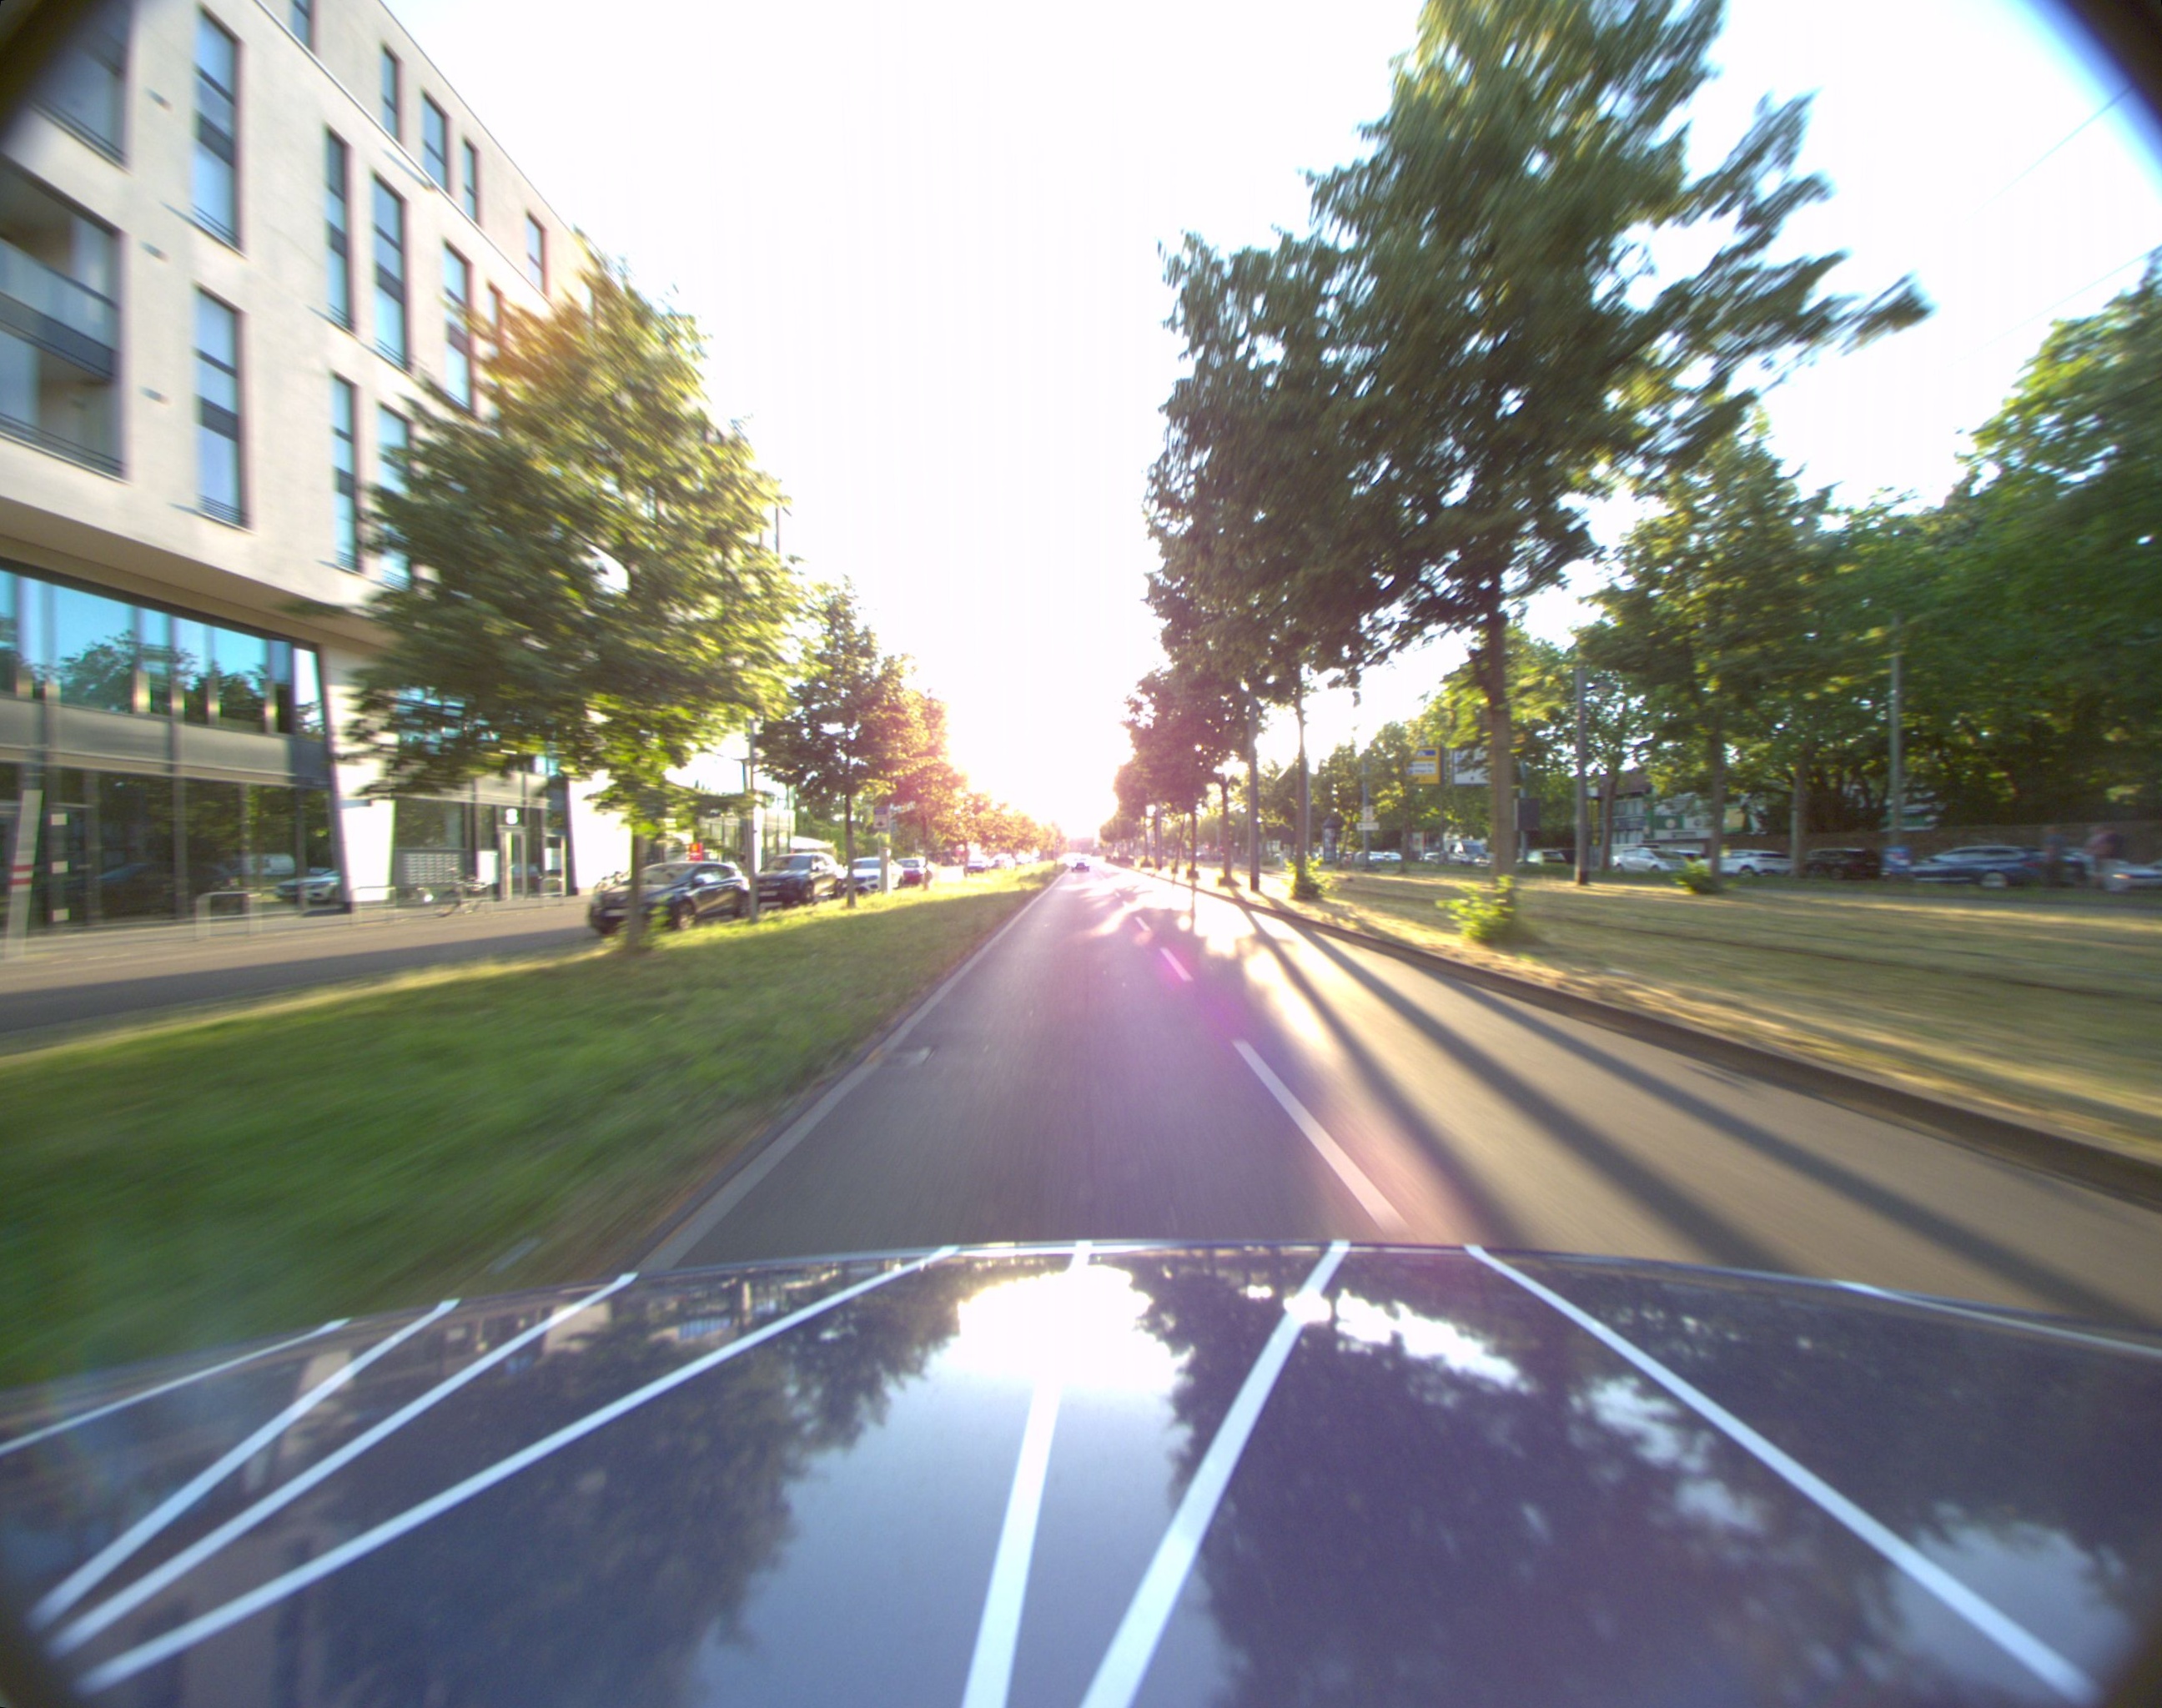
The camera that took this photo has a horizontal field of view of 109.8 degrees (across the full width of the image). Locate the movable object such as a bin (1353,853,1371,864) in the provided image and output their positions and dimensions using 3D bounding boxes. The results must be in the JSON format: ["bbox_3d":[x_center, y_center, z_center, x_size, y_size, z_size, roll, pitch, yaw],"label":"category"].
[{"bbox_3d":[34.832,0.544,94.245,1.556,1.364,1.724,-1,0,2],"label":"movable object such as a bin"}]

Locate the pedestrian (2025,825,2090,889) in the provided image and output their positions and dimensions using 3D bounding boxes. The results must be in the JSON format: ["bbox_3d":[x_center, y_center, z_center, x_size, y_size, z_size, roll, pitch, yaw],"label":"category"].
[{"bbox_3d":[26.941,0.076,20.970,0.695,1.733,0.866,-1,1,-2],"label":"pedestrian"}]

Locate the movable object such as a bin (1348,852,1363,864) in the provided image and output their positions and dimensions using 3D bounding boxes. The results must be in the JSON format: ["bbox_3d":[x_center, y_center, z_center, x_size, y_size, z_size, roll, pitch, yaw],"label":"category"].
[{"bbox_3d":[35.076,0.501,97.166,1.412,1.403,1.701,-1,0,2],"label":"movable object such as a bin"}]

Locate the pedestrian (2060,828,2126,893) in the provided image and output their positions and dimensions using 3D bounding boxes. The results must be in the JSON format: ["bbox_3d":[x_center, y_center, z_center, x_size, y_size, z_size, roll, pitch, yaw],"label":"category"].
[{"bbox_3d":[28.050,0.166,21.068,0.695,1.748,0.865,-1,1,-7],"label":"pedestrian"}]

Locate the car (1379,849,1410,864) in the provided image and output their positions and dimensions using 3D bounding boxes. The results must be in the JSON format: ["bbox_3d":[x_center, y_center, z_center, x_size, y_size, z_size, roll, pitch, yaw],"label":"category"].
[{"bbox_3d":[34.601,0.279,84.037,1.814,1.522,4.054,-1,0,2],"label":"car"}]

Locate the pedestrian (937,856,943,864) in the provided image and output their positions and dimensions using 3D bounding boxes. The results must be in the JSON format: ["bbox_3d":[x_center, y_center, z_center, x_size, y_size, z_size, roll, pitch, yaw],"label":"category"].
[{"bbox_3d":[-20.644,0.872,111.056,0.745,1.258,0.771,-1,0,1],"label":"pedestrian"}]

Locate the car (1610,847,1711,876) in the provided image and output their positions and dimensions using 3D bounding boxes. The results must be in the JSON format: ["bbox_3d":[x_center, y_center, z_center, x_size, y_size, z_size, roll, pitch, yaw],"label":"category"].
[{"bbox_3d":[30.942,0.377,40.792,1.998,1.490,4.557,-1,0,1],"label":"car"}]

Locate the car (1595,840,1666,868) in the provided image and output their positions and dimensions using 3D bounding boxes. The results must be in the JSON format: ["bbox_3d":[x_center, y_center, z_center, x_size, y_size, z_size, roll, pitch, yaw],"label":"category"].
[{"bbox_3d":[41.839,0.009,57.984,1.998,2.002,5.060,-1,0,4],"label":"car"}]

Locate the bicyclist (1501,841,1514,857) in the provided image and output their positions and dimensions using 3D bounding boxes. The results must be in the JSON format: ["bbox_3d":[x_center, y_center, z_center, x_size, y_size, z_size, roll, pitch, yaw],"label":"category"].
[{"bbox_3d":[40.605,-0.451,72.373,0.730,1.524,1.086,-1,0,6],"label":"bicyclist"}]

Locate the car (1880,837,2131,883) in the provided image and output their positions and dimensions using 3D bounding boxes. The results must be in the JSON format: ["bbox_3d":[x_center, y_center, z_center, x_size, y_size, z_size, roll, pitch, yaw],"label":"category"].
[{"bbox_3d":[29.745,0.181,24.790,1.998,1.307,5.142,-1,0,1],"label":"car"}]

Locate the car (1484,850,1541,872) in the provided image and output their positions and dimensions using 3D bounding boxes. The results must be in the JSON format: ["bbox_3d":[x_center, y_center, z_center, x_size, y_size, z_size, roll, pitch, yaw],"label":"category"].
[{"bbox_3d":[33.639,0.517,59.357,1.999,1.627,4.209,-1,0,-1],"label":"car"}]

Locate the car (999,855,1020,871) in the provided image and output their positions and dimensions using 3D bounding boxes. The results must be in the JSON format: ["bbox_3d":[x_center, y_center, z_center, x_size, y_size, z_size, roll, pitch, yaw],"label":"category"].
[{"bbox_3d":[-8.019,0.987,85.185,1.813,1.622,4.676,-4,0,0],"label":"car"}]

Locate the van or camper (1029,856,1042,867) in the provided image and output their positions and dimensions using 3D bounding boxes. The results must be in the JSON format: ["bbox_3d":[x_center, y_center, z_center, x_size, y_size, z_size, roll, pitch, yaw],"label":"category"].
[{"bbox_3d":[-8.346,1.398,140.358,1.963,1.908,4.830,-3,0,1],"label":"van or camper"}]

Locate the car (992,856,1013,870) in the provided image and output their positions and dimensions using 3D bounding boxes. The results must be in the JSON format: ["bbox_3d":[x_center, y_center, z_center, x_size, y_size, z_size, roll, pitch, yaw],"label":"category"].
[{"bbox_3d":[-8.245,0.962,80.231,1.754,1.390,4.000,-2,0,-1],"label":"car"}]

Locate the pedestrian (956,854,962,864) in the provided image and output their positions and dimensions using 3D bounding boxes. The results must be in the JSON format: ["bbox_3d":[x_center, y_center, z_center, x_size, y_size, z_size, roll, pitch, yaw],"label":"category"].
[{"bbox_3d":[-17.870,0.710,111.304,0.745,1.360,0.770,-1,0,-11],"label":"pedestrian"}]

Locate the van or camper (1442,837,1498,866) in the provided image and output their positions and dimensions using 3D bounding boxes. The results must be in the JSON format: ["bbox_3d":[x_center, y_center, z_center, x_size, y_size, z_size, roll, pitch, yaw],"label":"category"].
[{"bbox_3d":[33.577,-0.218,65.732,2.289,2.351,5.785,-1,0,5],"label":"van or camper"}]

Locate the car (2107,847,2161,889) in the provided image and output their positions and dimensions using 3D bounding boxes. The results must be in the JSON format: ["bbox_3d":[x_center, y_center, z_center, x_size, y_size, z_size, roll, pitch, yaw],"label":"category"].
[{"bbox_3d":[38.791,0.485,26.071,1.997,1.477,4.002,-1,0,7],"label":"car"}]

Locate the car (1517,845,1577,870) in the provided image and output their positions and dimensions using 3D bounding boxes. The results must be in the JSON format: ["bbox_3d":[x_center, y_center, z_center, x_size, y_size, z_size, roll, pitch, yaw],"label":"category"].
[{"bbox_3d":[31.908,0.224,52.167,1.997,1.630,4.002,-1,0,7],"label":"car"}]

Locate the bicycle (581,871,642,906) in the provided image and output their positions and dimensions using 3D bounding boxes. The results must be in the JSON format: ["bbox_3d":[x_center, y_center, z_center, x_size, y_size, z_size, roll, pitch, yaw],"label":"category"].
[{"bbox_3d":[-15.589,1.125,25.306,0.621,1.027,2.261,-1,0,-1],"label":"bicycle"}]

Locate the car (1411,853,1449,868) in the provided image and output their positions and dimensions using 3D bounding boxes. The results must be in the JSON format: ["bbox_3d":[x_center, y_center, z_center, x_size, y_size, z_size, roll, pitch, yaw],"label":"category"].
[{"bbox_3d":[34.604,0.630,75.397,1.998,1.491,4.098,-1,0,2],"label":"car"}]

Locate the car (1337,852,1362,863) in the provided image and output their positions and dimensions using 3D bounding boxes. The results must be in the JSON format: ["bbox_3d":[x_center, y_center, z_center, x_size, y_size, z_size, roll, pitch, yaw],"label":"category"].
[{"bbox_3d":[36.040,0.464,102.038,1.998,1.440,4.001,-1,0,2],"label":"car"}]

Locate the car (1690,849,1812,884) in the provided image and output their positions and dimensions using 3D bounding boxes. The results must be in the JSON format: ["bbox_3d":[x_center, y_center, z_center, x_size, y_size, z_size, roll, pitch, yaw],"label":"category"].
[{"bbox_3d":[30.816,0.555,35.141,1.904,1.490,4.307,-1,0,1],"label":"car"}]

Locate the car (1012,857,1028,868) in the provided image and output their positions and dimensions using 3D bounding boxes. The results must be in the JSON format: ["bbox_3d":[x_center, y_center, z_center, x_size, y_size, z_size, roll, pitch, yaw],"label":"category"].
[{"bbox_3d":[-8.644,1.239,107.834,1.924,1.492,5.411,-1,0,0],"label":"car"}]

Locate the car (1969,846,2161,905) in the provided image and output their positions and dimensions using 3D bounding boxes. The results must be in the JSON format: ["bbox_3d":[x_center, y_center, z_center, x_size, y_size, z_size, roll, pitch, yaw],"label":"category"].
[{"bbox_3d":[32.490,0.648,24.941,1.998,1.739,4.162,-1,0,5],"label":"car"}]

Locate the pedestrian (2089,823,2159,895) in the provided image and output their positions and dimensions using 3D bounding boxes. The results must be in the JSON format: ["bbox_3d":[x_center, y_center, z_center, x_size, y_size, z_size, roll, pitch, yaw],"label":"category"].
[{"bbox_3d":[27.619,0.118,20.125,0.695,1.859,0.865,-1,1,-7],"label":"pedestrian"}]

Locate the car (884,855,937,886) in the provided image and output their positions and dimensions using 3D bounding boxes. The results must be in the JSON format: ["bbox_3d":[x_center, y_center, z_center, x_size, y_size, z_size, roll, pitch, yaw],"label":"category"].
[{"bbox_3d":[-8.654,0.802,38.798,1.813,1.492,3.959,-1,0,0],"label":"car"}]

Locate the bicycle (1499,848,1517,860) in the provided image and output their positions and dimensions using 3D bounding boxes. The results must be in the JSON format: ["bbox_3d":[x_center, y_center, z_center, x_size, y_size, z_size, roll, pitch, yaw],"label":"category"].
[{"bbox_3d":[40.635,0.029,72.374,0.732,1.084,2.017,-1,0,6],"label":"bicycle"}]

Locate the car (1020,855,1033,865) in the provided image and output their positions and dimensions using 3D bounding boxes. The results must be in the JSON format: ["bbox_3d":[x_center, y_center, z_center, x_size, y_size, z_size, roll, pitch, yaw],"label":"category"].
[{"bbox_3d":[-8.806,0.966,122.393,1.813,1.492,4.479,-1,0,0],"label":"car"}]

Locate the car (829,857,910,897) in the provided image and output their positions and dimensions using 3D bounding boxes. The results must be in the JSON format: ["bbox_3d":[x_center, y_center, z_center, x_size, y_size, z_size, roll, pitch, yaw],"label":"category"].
[{"bbox_3d":[-8.562,0.878,31.204,1.926,1.492,5.010,-1,0,0],"label":"car"}]

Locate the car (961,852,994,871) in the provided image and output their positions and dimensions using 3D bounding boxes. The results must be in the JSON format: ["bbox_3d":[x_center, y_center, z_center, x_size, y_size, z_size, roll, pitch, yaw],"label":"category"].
[{"bbox_3d":[-8.408,0.594,62.119,1.812,1.492,4.369,0,0,4],"label":"car"}]

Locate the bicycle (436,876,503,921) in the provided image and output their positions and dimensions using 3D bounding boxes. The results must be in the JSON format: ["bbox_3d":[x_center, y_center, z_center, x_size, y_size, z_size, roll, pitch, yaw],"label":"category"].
[{"bbox_3d":[-15.884,1.140,19.789,0.534,1.053,1.612,-1,0,-5],"label":"bicycle"}]

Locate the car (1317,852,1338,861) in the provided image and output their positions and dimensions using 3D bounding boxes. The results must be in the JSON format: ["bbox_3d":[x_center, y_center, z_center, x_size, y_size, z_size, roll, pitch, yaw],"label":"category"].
[{"bbox_3d":[37.050,0.390,114.219,1.998,1.194,4.090,-1,0,2],"label":"car"}]

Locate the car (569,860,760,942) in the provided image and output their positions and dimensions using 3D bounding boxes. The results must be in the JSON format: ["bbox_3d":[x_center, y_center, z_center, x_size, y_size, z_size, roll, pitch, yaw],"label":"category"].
[{"bbox_3d":[-8.782,0.910,16.509,1.728,1.492,4.233,-2,0,1],"label":"car"}]

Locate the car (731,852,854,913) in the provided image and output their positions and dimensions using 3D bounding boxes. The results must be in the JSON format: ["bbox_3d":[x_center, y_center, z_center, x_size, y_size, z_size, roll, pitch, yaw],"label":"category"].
[{"bbox_3d":[-8.831,0.823,23.793,1.958,1.614,4.820,-3,0,0],"label":"car"}]

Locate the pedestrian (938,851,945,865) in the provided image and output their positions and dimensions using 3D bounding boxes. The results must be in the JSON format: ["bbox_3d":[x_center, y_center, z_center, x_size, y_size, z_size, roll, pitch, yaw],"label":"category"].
[{"bbox_3d":[-16.487,0.469,89.859,0.696,1.645,1.078,-1,0,0],"label":"pedestrian"}]

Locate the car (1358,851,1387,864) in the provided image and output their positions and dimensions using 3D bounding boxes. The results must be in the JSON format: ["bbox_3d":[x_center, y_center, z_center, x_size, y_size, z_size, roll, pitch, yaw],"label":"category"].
[{"bbox_3d":[34.633,0.456,90.393,1.998,1.491,4.299,-1,0,2],"label":"car"}]

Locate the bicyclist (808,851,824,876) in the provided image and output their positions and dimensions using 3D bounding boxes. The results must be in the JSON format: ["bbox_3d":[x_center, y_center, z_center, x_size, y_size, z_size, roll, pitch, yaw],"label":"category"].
[{"bbox_3d":[-16.793,0.598,48.211,0.545,1.559,1.020,-1,0,4],"label":"bicyclist"}]

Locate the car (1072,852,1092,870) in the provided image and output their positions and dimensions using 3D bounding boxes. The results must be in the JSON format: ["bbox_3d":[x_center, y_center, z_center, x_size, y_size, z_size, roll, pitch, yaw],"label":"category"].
[{"bbox_3d":[0.118,0.656,72.238,1.828,1.625,4.000,-1,0,0],"label":"car"}]

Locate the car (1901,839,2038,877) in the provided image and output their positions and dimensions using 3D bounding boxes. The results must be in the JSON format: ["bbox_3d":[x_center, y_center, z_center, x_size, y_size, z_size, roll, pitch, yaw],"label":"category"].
[{"bbox_3d":[39.783,0.184,34.178,1.770,1.586,3.839,-1,0,4],"label":"car"}]
